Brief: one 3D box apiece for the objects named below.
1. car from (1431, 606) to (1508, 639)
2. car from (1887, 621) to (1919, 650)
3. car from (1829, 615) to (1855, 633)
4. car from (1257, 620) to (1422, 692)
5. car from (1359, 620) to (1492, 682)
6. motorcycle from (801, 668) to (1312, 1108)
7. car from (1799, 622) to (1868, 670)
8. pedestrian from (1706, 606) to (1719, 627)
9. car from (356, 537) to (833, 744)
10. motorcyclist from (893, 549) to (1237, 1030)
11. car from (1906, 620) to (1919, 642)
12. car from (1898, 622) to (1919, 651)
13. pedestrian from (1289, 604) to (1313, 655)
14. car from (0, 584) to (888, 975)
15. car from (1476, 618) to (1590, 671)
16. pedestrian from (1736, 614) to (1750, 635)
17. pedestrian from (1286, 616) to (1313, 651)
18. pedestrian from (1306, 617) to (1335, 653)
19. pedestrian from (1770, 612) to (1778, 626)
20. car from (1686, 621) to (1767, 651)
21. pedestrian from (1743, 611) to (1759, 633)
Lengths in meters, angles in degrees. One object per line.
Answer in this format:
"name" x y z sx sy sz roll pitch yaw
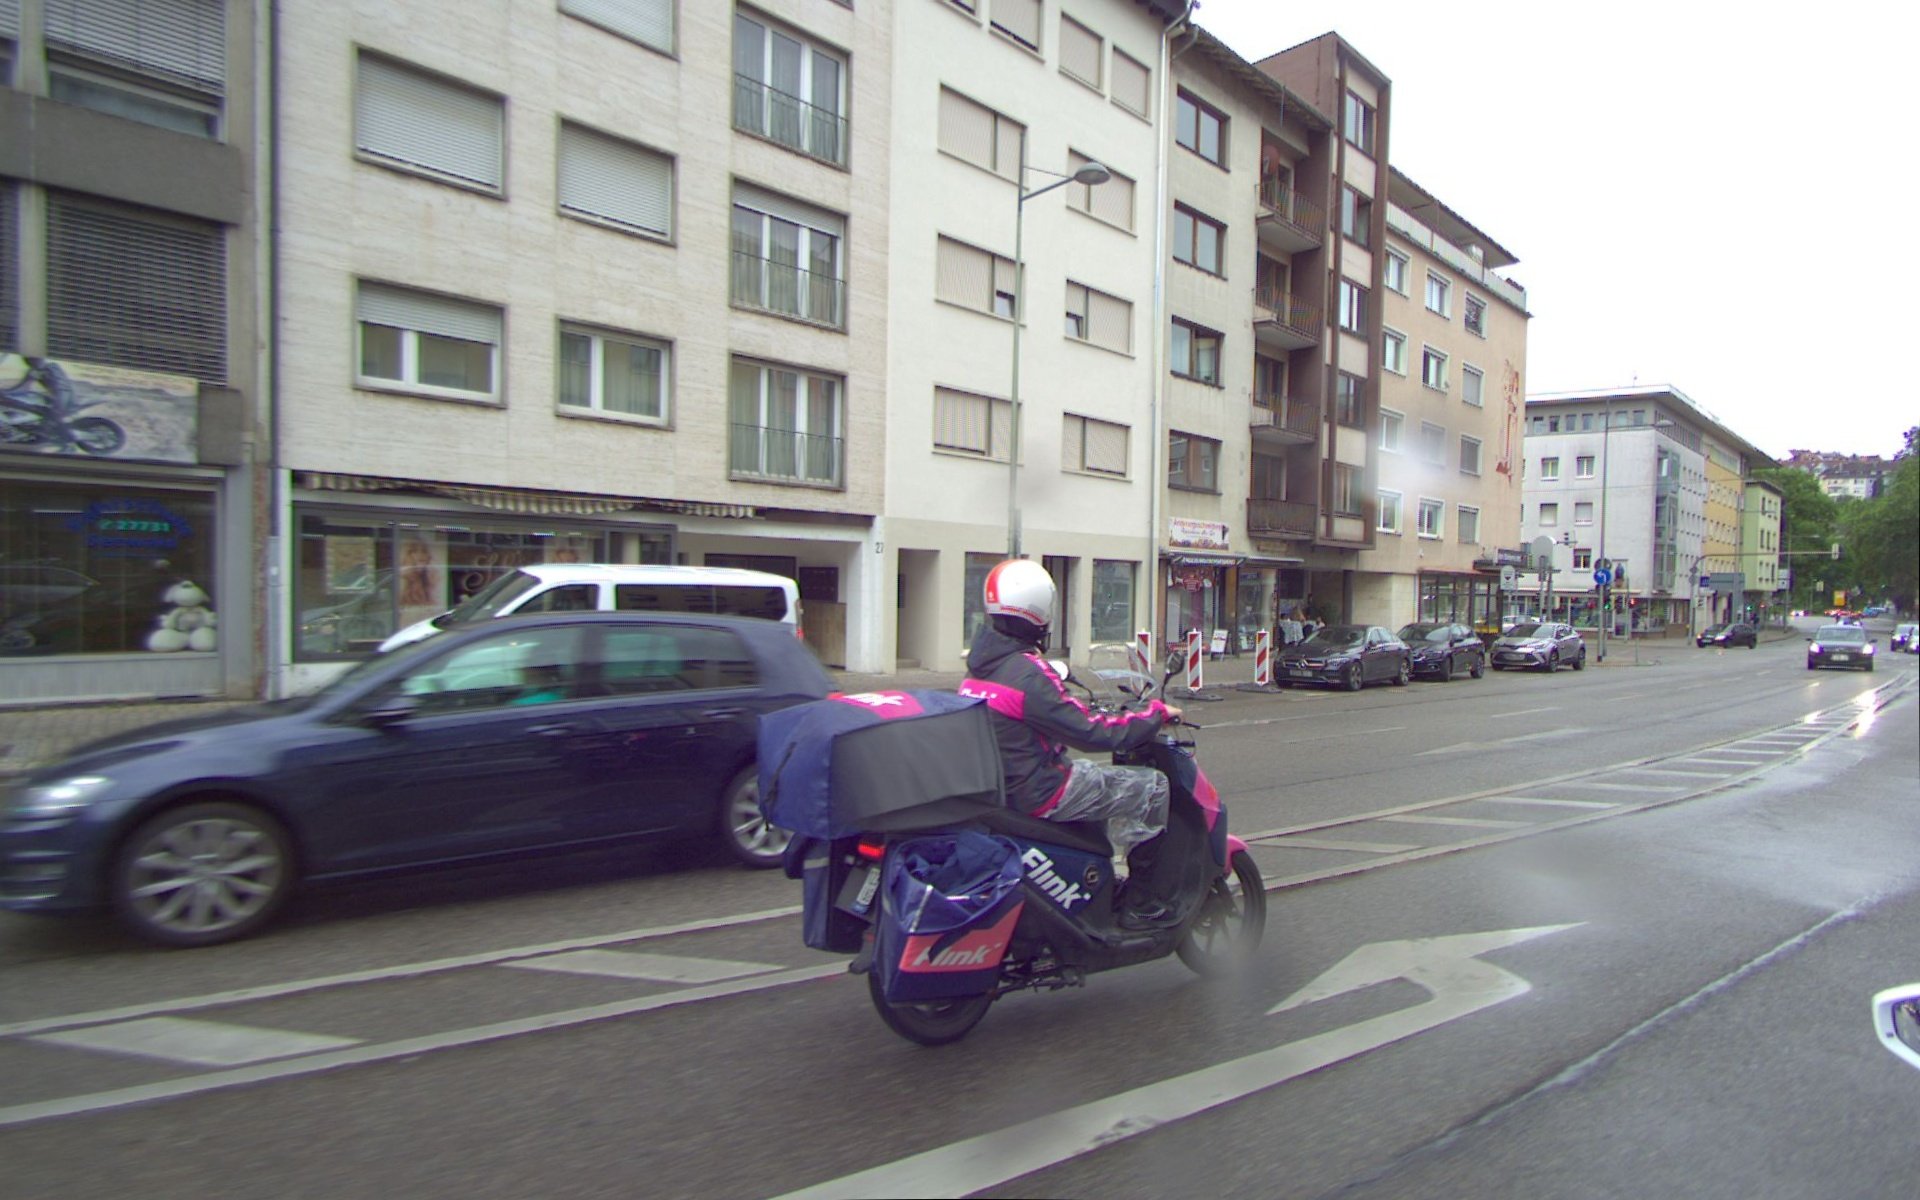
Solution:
"car" 31.804 1.395 62.711 3.939 1.729 1.679 4 3 39
"car" 56.254 2.111 59.629 1.801 1.630 4.405 2 0 43
"car" 100.826 2.696 114.800 1.972 1.885 3.975 5 3 44
"car" 9.003 1.234 23.563 1.862 1.496 4.950 0 -1 43
"car" 12.735 1.332 27.337 1.972 1.497 4.492 1 0 43
"motorcycle" 0.466 0.918 3.850 2.083 1.207 0.583 1 2 -37
"car" 32.500 1.666 37.386 1.841 1.669 4.231 0 -1 41
"pedestrian" 62.504 1.342 83.389 0.788 1.711 0.814 2 1 38
"car" -4.359 0.455 12.379 5.080 2.041 2.103 3 2 -36
"motorcyclist" 0.374 0.596 3.782 0.856 1.513 0.908 2 1 -37
"car" 86.393 2.824 90.195 1.800 1.820 3.846 5 3 41
"car" 53.254 2.037 55.360 1.910 1.547 4.117 2 0 39
"pedestrian" 11.122 0.949 32.723 0.535 1.604 0.668 3 1 33
"car" -2.526 0.740 5.664 3.960 1.492 1.673 1 -2 -35
"car" 18.642 1.423 32.597 4.597 1.575 1.890 2 -1 -42
"pedestrian" 60.845 1.895 78.021 0.647 1.602 0.680 0 4 -44
"pedestrian" 11.565 1.144 34.234 0.628 1.163 0.602 1 1 -43
"pedestrian" 12.311 1.193 34.305 0.585 1.163 0.672 2 1 -16
"pedestrian" 113.609 2.661 140.217 0.657 1.815 0.720 4 3 32
"car" 45.689 2.151 59.898 3.929 1.648 1.695 1 -1 -11
"pedestrian" 67.614 1.843 85.895 0.856 1.812 0.869 6 4 45
